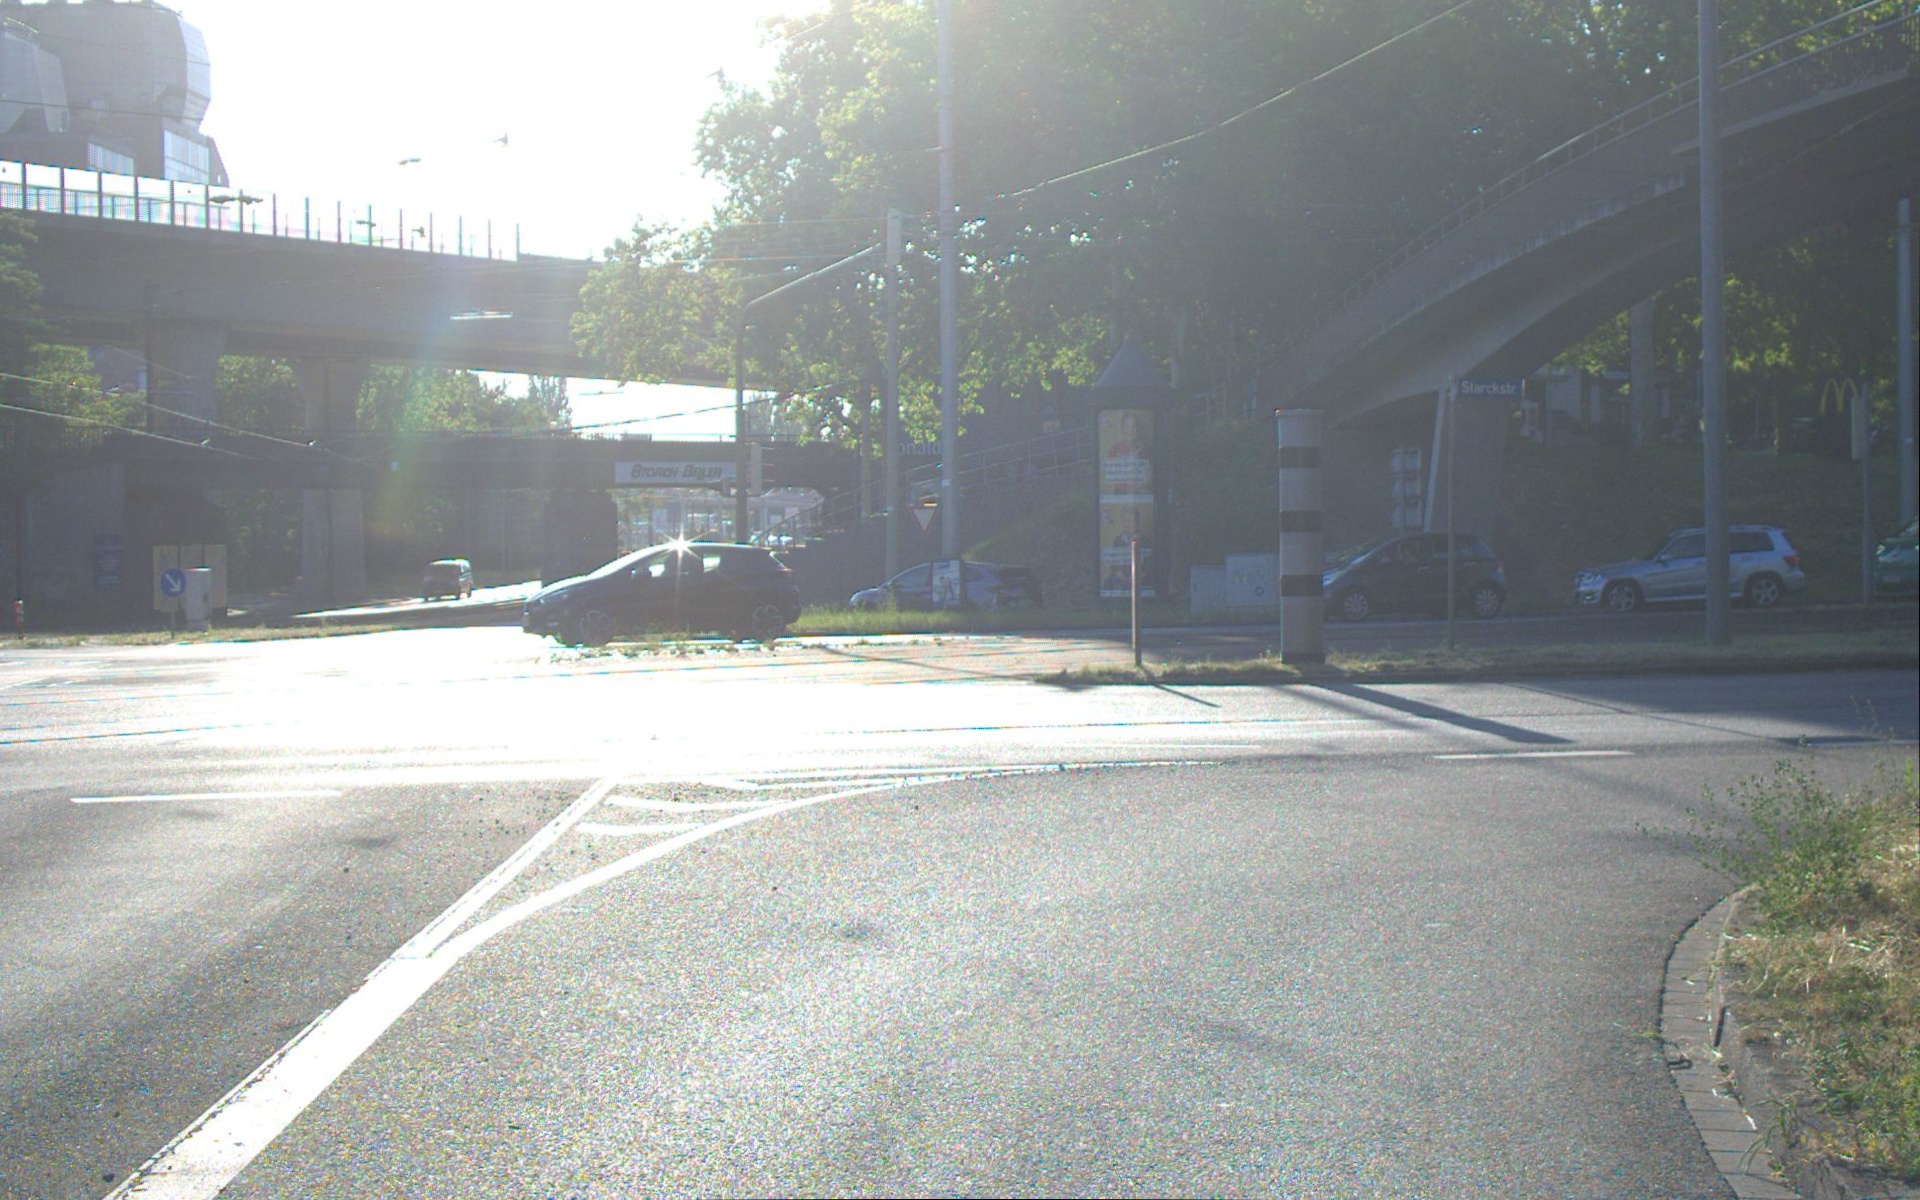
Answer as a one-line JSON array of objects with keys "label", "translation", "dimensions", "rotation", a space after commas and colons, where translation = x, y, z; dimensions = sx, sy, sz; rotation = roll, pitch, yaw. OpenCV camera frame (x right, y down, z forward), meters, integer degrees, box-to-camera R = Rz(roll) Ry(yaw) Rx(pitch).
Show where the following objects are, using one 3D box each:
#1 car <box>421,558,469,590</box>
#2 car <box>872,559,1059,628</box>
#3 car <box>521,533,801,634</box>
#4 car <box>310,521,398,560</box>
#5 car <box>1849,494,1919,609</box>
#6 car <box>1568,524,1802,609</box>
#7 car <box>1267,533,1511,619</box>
[{"label": "car", "translation": [-26.535, -1.340, 177.180], "dimensions": [1.711, 1.647, 4.095], "rotation": [0, 1, 3]}, {"label": "car", "translation": [0.087, -0.153, 73.343], "dimensions": [1.692, 1.417, 4.149], "rotation": [-1, 1, -41]}, {"label": "car", "translation": [-4.326, -0.248, 49.583], "dimensions": [3.720, 1.417, 1.697], "rotation": [0, 1, -19]}, {"label": "car", "translation": [-29.064, -2.848, 164.853], "dimensions": [1.997, 1.765, 3.993], "rotation": [1, 1, 32]}, {"label": "car", "translation": [17.648, -0.824, 58.296], "dimensions": [4.688, 1.899, 2.001], "rotation": [0, 1, -21]}, {"label": "car", "translation": [14.202, -0.656, 67.479], "dimensions": [4.205, 1.647, 1.717], "rotation": [0, 1, -1]}, {"label": "car", "translation": [7.237, -0.408, 58.036], "dimensions": [3.720, 1.417, 1.697], "rotation": [0, 1, -19]}]
